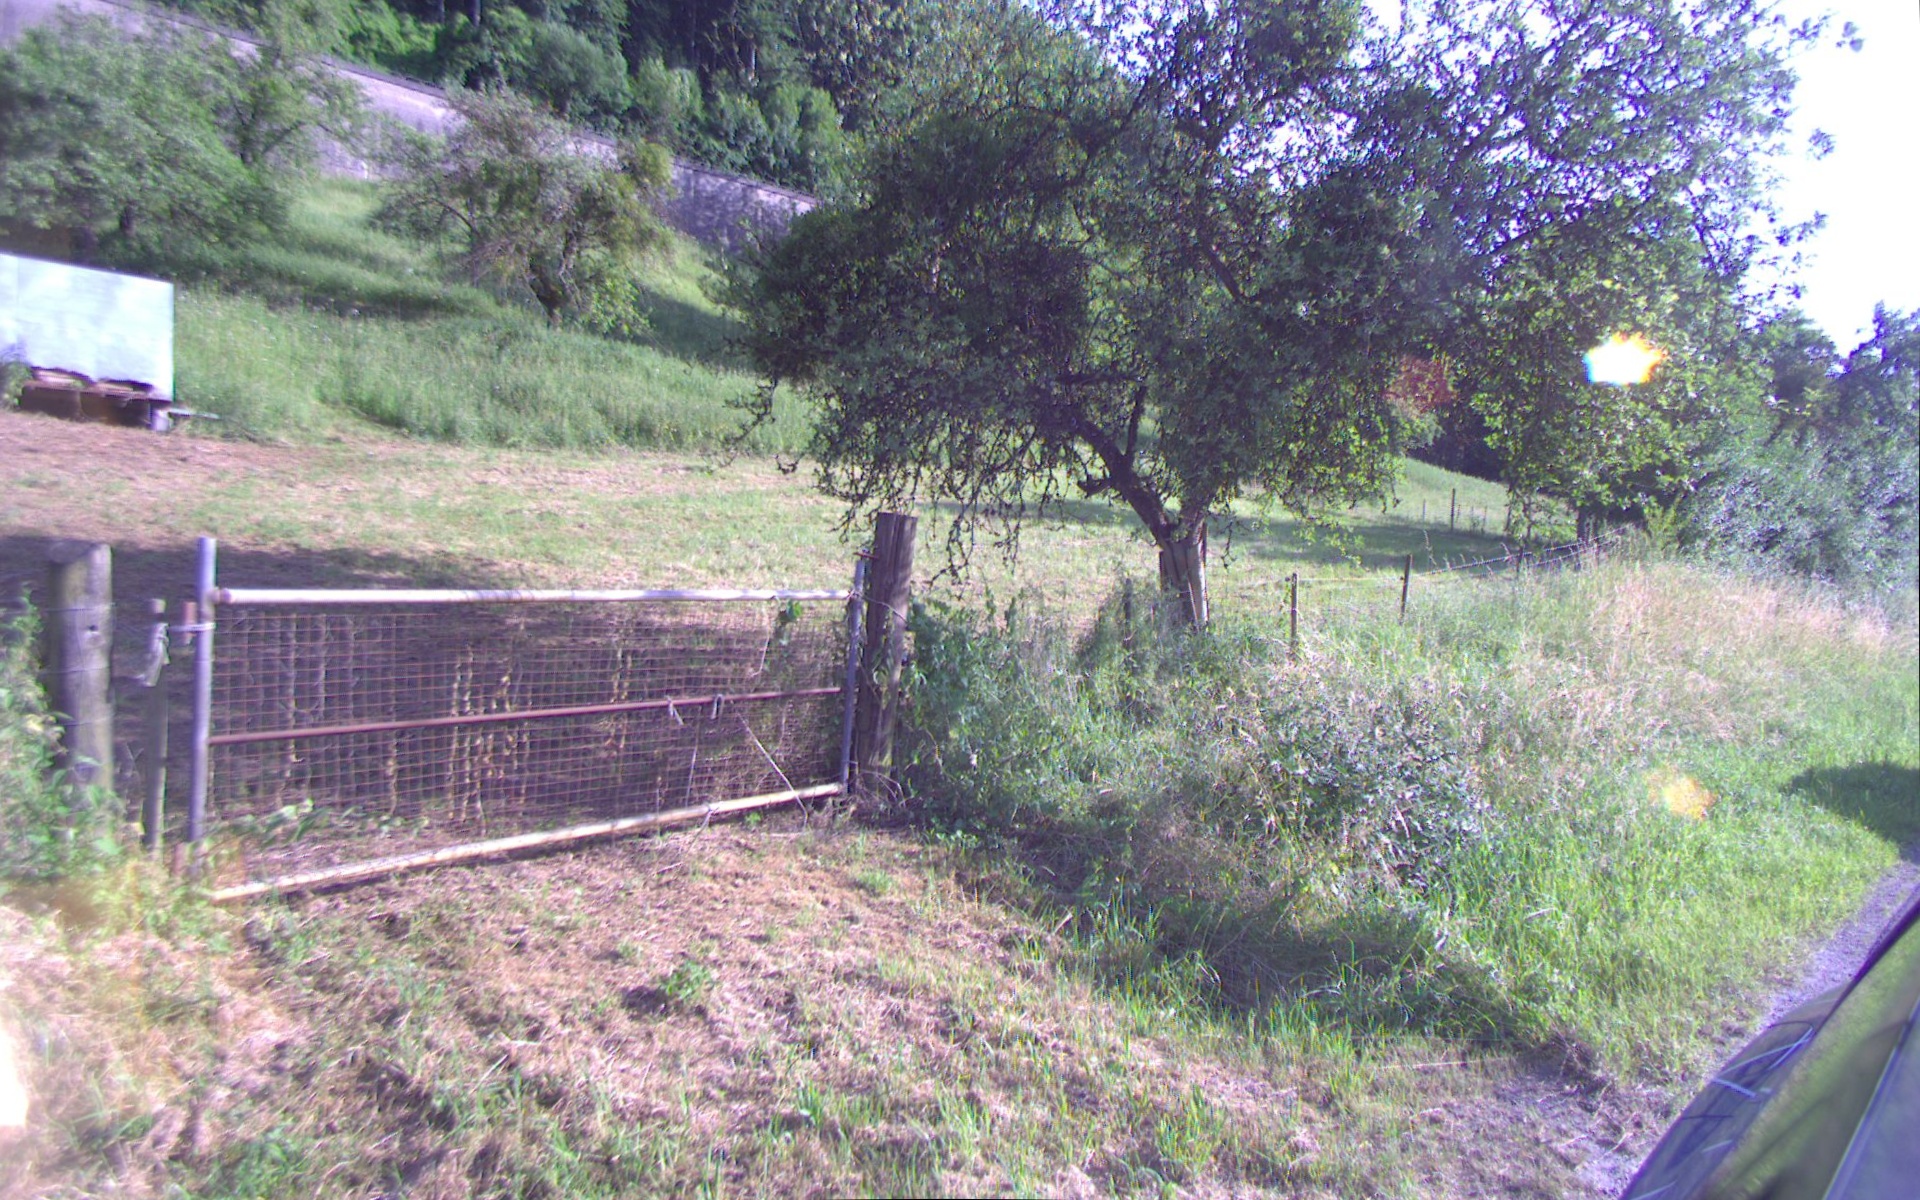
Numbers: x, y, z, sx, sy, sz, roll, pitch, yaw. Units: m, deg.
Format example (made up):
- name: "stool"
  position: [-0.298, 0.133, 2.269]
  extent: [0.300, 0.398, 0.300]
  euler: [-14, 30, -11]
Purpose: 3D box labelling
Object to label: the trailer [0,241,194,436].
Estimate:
- name: "trailer"
  position: [-16.080, -4.463, 16.696]
  extent: [5.159, 2.590, 2.155]
  euler: [4, 1, -44]
